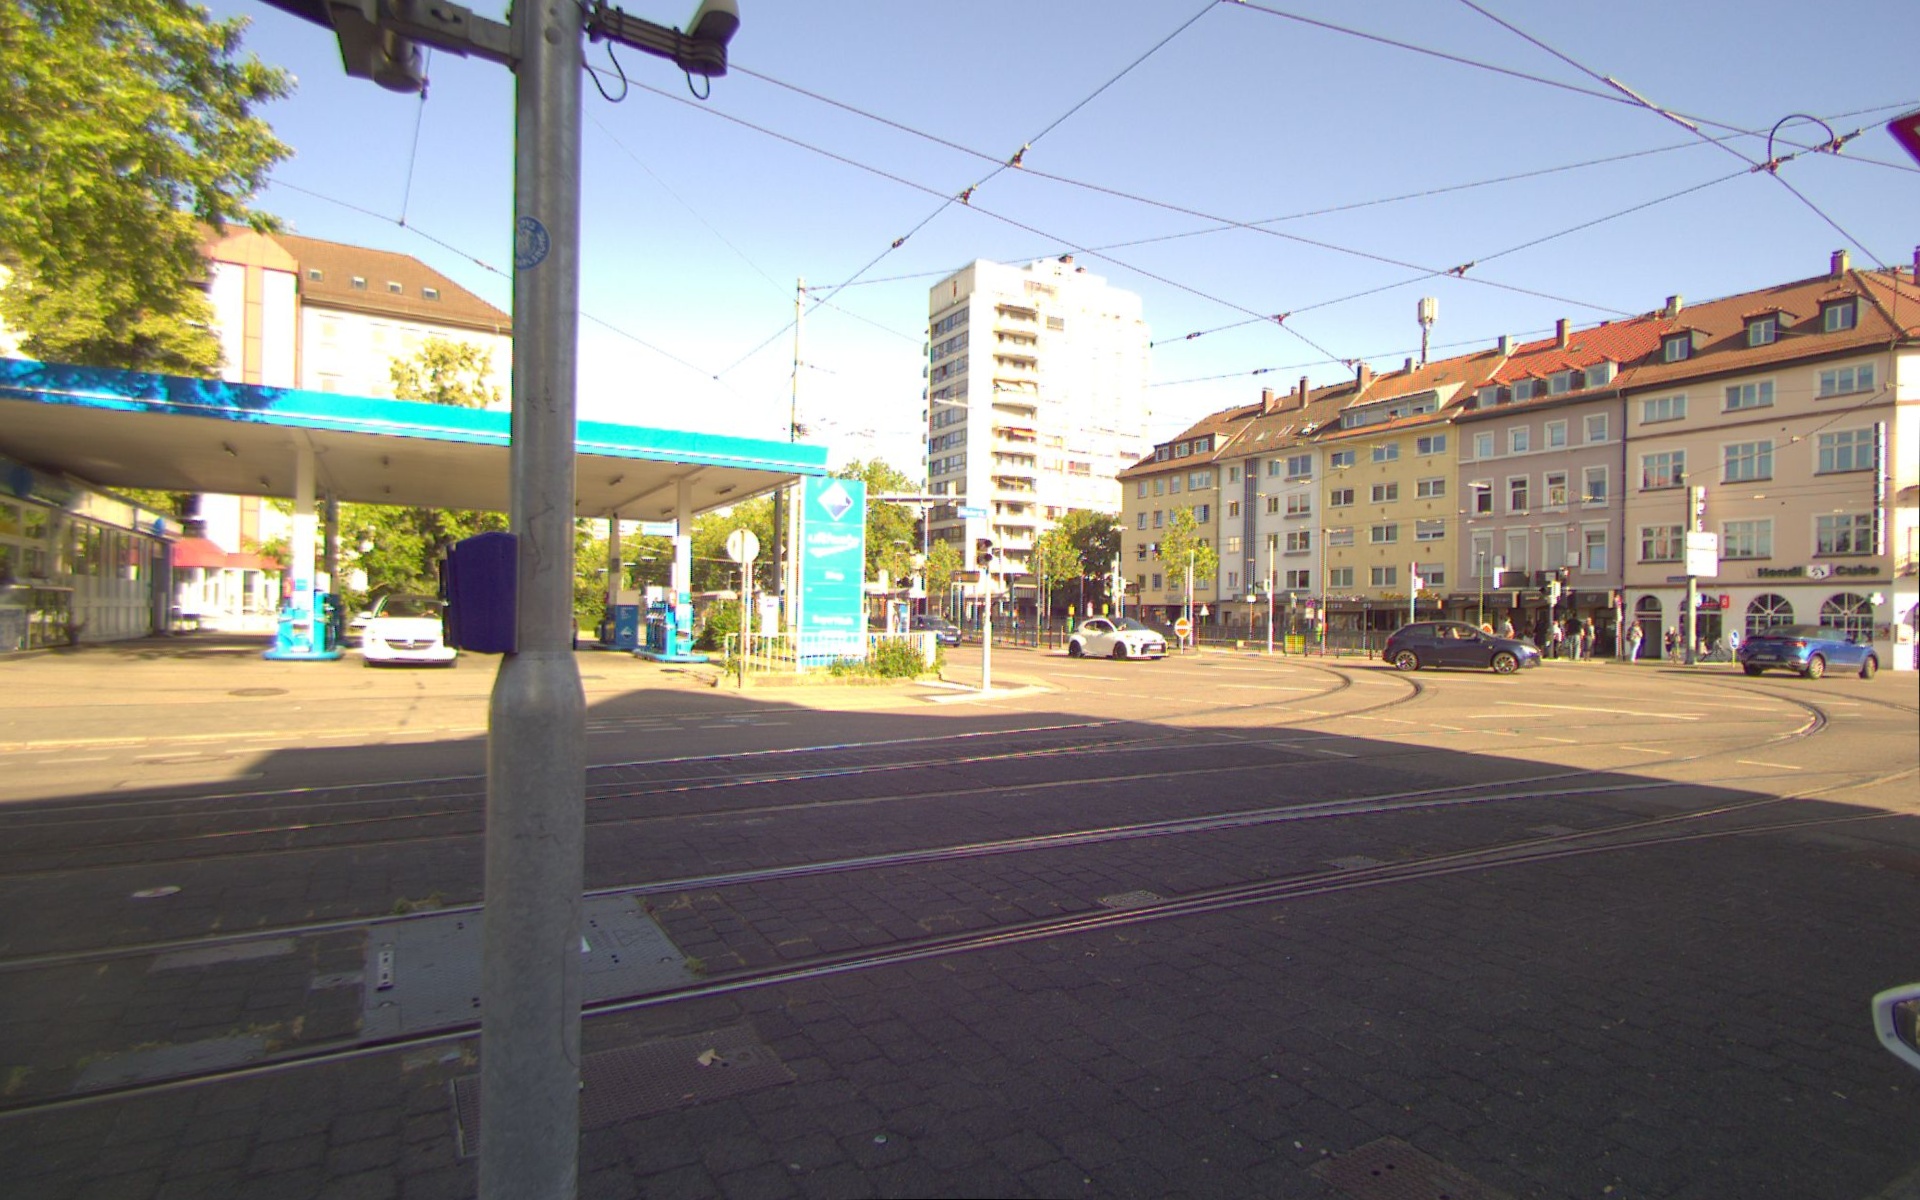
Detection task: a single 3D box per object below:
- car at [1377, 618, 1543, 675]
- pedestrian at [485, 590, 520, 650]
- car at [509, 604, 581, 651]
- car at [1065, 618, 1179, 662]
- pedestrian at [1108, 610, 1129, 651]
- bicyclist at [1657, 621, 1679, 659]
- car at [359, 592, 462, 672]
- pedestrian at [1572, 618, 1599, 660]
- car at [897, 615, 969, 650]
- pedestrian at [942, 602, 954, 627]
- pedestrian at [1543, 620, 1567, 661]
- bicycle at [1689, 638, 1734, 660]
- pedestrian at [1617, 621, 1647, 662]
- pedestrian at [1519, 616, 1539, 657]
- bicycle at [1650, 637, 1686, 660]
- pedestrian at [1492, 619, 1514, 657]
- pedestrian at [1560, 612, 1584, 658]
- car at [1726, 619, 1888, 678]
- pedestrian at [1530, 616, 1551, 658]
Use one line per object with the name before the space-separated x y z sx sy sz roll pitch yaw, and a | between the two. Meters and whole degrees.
car | 13.892 1.251 27.953 3.933 1.422 1.826 0 -1 34
pedestrian | -13.260 0.590 29.131 0.838 1.724 0.644 2 -3 -31
car | -13.521 0.859 32.651 1.659 1.372 3.559 2 0 -31
car | 5.617 1.361 35.332 1.876 1.473 3.976 1 -1 -30
pedestrian | 6.467 1.220 40.897 0.750 1.631 0.613 2 0 15
bicyclist | 33.939 1.921 48.139 0.606 1.814 0.619 2 0 -25
car | -11.671 0.621 21.362 1.723 1.455 3.905 2 1 -29
pedestrian | 25.592 1.584 41.086 0.831 1.670 0.579 2 0 -30
car | -1.337 1.551 48.601 1.770 1.524 3.886 -3 1 -31
pedestrian | -1.006 1.278 86.834 0.729 2.127 0.880 2 0 -21
pedestrian | 25.133 1.703 42.443 0.719 1.670 0.570 2 0 -30
bicycle | 37.833 2.468 50.598 0.603 0.996 1.693 2 0 -29
pedestrian | 26.491 1.633 39.588 0.805 1.615 0.665 2 0 -30
pedestrian | 23.657 1.515 41.787 0.492 1.670 0.520 2 0 -30
bicycle | 33.917 2.326 48.132 1.731 1.044 0.619 2 0 -25
pedestrian | 23.858 1.671 44.111 0.609 1.670 0.581 2 0 -30
pedestrian | 24.740 1.420 40.603 0.669 1.847 0.524 2 0 -30
car | 24.917 1.408 29.571 4.135 1.596 1.823 1 0 -20
pedestrian | 23.775 1.515 41.141 0.492 1.670 0.520 2 0 -30
